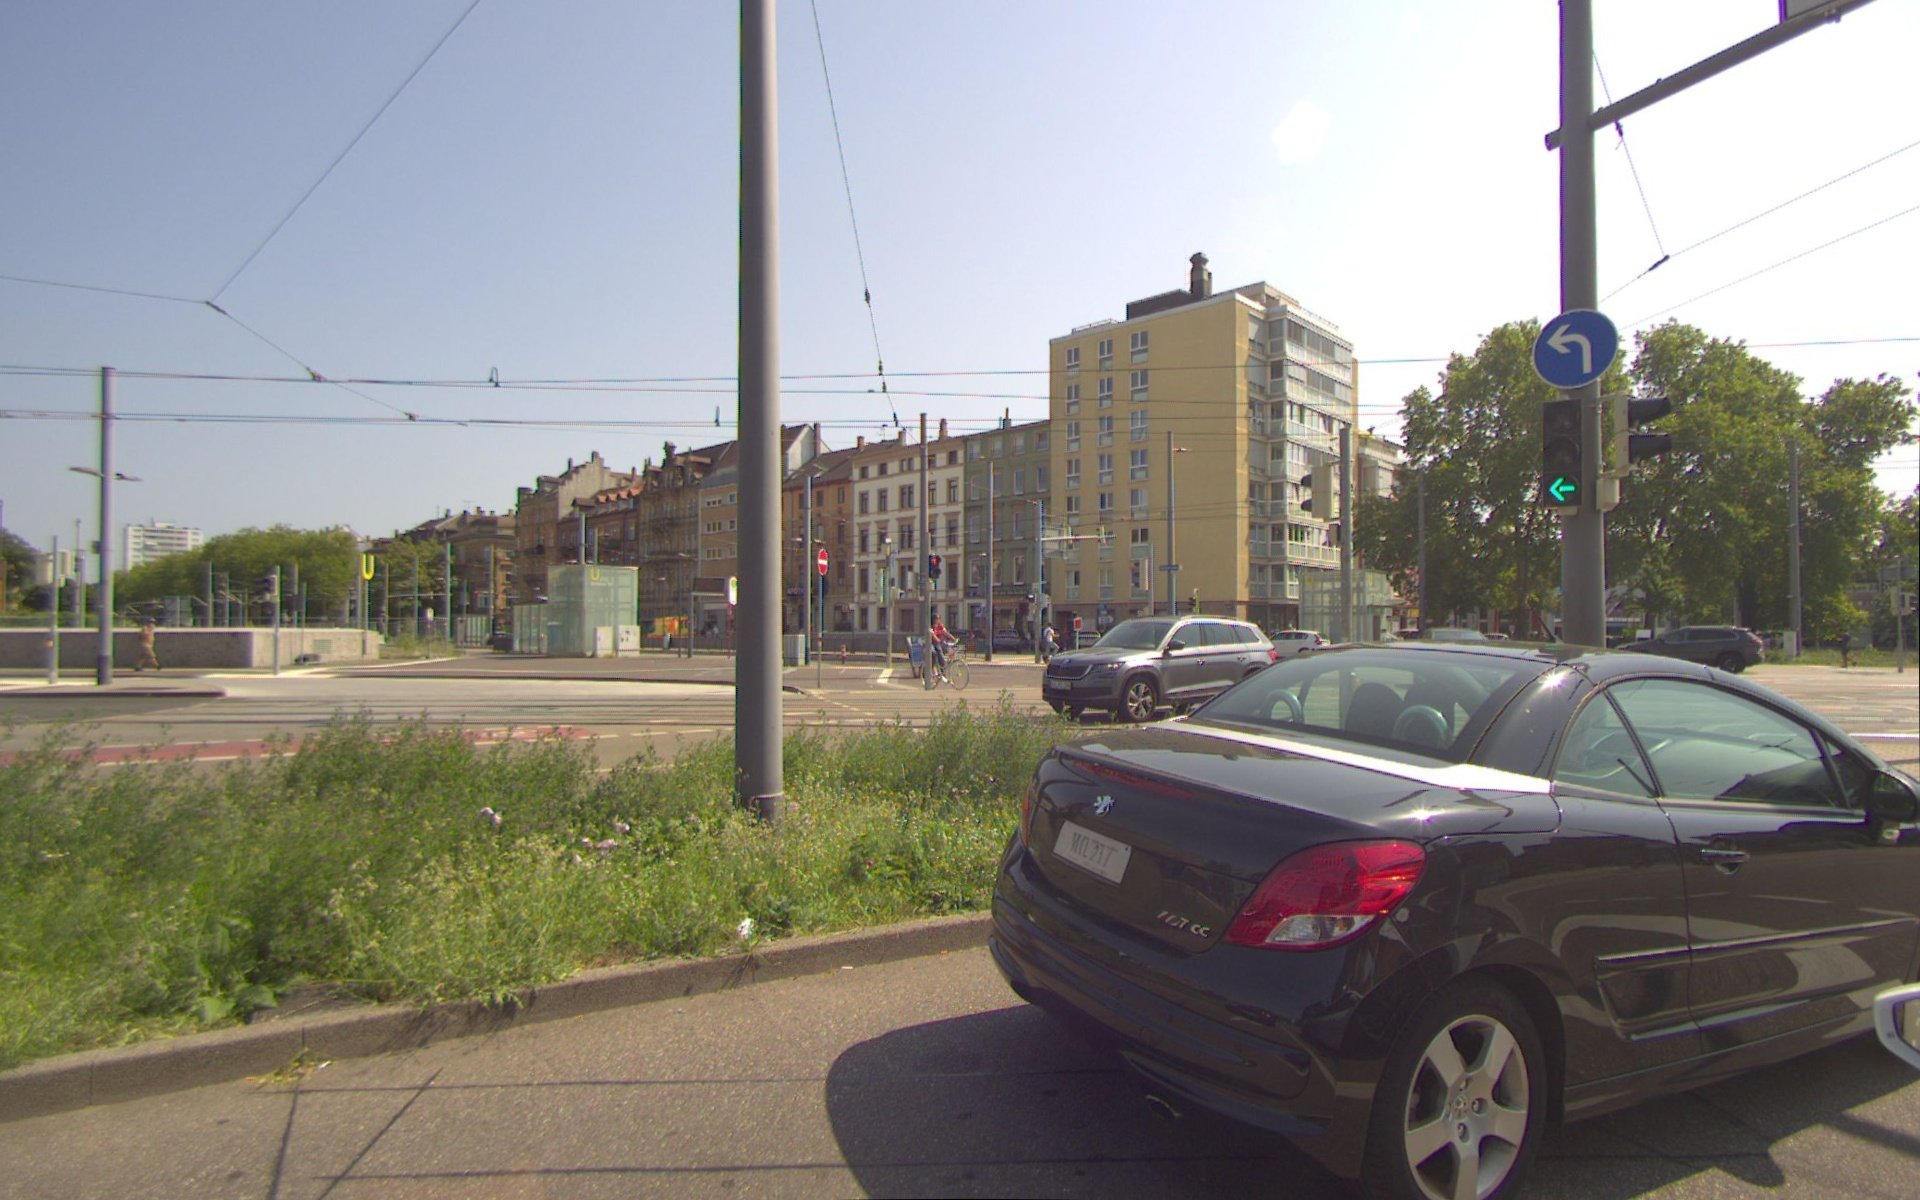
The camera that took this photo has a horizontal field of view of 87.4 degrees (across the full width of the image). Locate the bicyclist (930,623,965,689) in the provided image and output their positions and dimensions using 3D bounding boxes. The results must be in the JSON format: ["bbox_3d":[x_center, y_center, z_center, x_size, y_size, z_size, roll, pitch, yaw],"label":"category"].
[{"bbox_3d":[-0.294,1.323,23.839,0.632,1.529,0.553,1,-2,-36],"label":"bicyclist"}]

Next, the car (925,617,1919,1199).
[{"bbox_3d":[1.934,0.803,3.582,3.731,1.406,1.760,1,0,-26],"label":"car"}]

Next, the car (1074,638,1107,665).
[{"bbox_3d":[7.948,3.107,61.445,1.712,1.528,4.002,0,-2,4],"label":"car"}]

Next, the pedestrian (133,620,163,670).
[{"bbox_3d":[-27.159,1.506,33.606,0.593,1.680,0.471,0,-1,-4],"label":"pedestrian"}]

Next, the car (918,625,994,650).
[{"bbox_3d":[-0.272,2.266,61.286,4.700,1.434,1.767,-1,-2,42],"label":"car"}]

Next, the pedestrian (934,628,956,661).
[{"bbox_3d":[-0.725,2.164,49.046,0.732,1.563,0.855,-1,-2,38],"label":"pedestrian"}]

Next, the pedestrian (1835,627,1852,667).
[{"bbox_3d":[38.063,2.021,43.269,0.547,1.706,0.452,-1,-2,42],"label":"pedestrian"}]

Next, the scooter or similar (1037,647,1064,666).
[{"bbox_3d":[3.974,2.467,43.984,1.132,0.835,0.517,1,-2,-35],"label":"scooter or similar"}]

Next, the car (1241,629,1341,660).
[{"bbox_3d":[15.621,2.071,47.527,4.141,1.434,1.767,-1,-2,42],"label":"car"}]

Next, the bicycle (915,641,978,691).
[{"bbox_3d":[-0.334,1.540,23.806,0.499,1.108,1.918,1,-2,-35],"label":"bicycle"}]

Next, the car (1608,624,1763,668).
[{"bbox_3d":[26.892,1.677,37.319,4.557,1.524,1.990,-1,-2,40],"label":"car"}]

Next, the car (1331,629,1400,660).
[{"bbox_3d":[27.821,3.027,68.967,3.946,2.040,1.919,-1,-2,44],"label":"car"}]

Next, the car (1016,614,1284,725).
[{"bbox_3d":[3.241,1.080,16.718,4.496,1.621,1.755,1,-2,-34],"label":"car"}]

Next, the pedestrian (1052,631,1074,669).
[{"bbox_3d":[4.622,2.243,45.116,0.790,1.699,0.578,1,-1,-30],"label":"pedestrian"}]

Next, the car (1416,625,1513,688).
[{"bbox_3d":[13.758,1.494,27.598,1.704,1.581,4.210,0,-2,17],"label":"car"}]

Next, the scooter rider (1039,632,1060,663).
[{"bbox_3d":[3.919,2.077,44.089,0.602,1.371,0.682,1,-2,-35],"label":"scooter rider"}]
